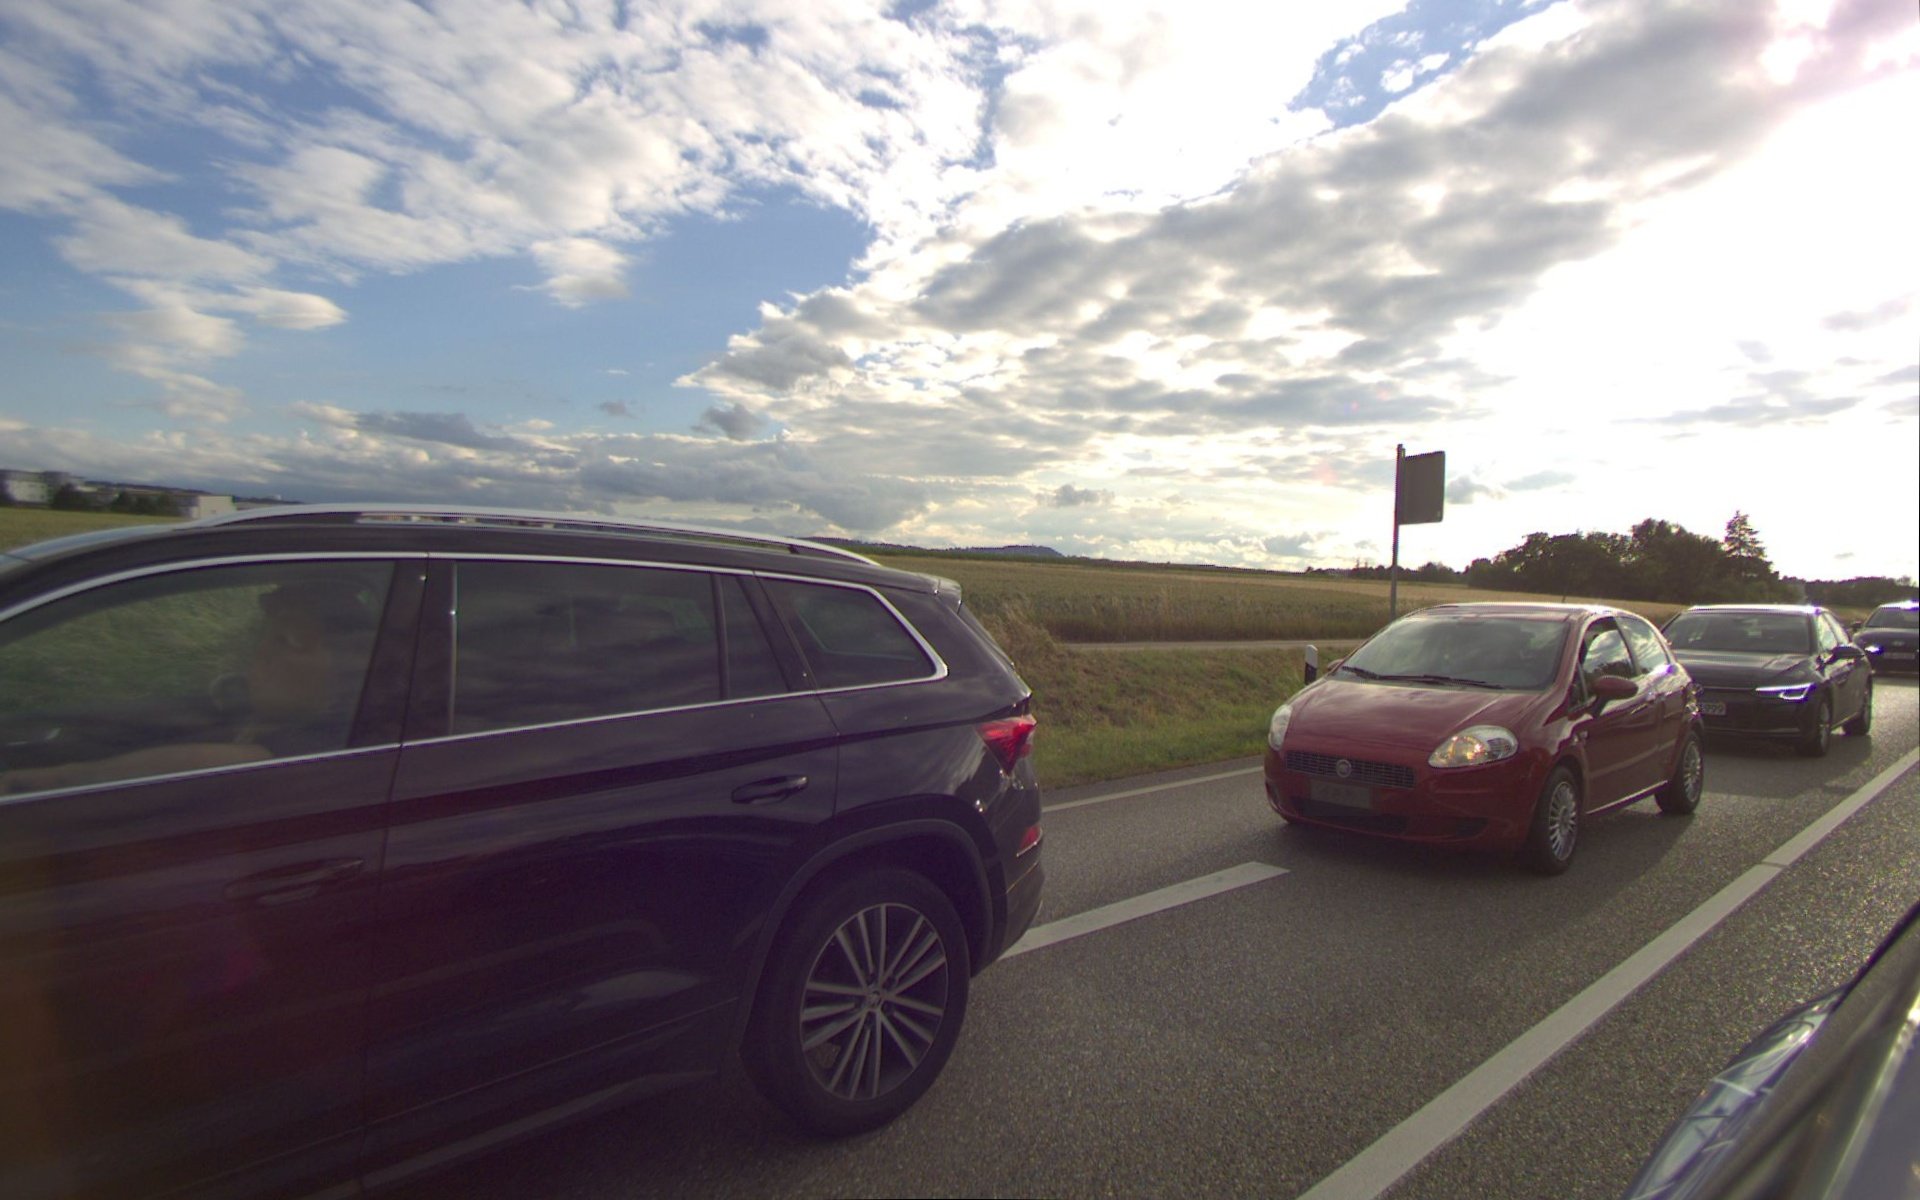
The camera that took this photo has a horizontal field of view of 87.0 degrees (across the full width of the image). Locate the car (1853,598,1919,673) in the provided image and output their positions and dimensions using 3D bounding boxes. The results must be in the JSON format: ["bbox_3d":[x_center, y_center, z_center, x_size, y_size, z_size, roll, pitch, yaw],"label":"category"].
[{"bbox_3d":[20.332,0.695,21.286,3.962,1.475,1.797,0,0,-41],"label":"car"}]

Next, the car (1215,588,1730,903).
[{"bbox_3d":[3.539,0.671,6.689,3.840,1.475,1.710,-1,0,-41],"label":"car"}]

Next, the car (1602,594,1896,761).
[{"bbox_3d":[8.691,0.687,11.037,3.962,1.475,1.797,0,0,-41],"label":"car"}]

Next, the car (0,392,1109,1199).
[{"bbox_3d":[-1.803,0.534,2.540,4.477,1.730,1.839,-1,0,-41],"label":"car"}]
